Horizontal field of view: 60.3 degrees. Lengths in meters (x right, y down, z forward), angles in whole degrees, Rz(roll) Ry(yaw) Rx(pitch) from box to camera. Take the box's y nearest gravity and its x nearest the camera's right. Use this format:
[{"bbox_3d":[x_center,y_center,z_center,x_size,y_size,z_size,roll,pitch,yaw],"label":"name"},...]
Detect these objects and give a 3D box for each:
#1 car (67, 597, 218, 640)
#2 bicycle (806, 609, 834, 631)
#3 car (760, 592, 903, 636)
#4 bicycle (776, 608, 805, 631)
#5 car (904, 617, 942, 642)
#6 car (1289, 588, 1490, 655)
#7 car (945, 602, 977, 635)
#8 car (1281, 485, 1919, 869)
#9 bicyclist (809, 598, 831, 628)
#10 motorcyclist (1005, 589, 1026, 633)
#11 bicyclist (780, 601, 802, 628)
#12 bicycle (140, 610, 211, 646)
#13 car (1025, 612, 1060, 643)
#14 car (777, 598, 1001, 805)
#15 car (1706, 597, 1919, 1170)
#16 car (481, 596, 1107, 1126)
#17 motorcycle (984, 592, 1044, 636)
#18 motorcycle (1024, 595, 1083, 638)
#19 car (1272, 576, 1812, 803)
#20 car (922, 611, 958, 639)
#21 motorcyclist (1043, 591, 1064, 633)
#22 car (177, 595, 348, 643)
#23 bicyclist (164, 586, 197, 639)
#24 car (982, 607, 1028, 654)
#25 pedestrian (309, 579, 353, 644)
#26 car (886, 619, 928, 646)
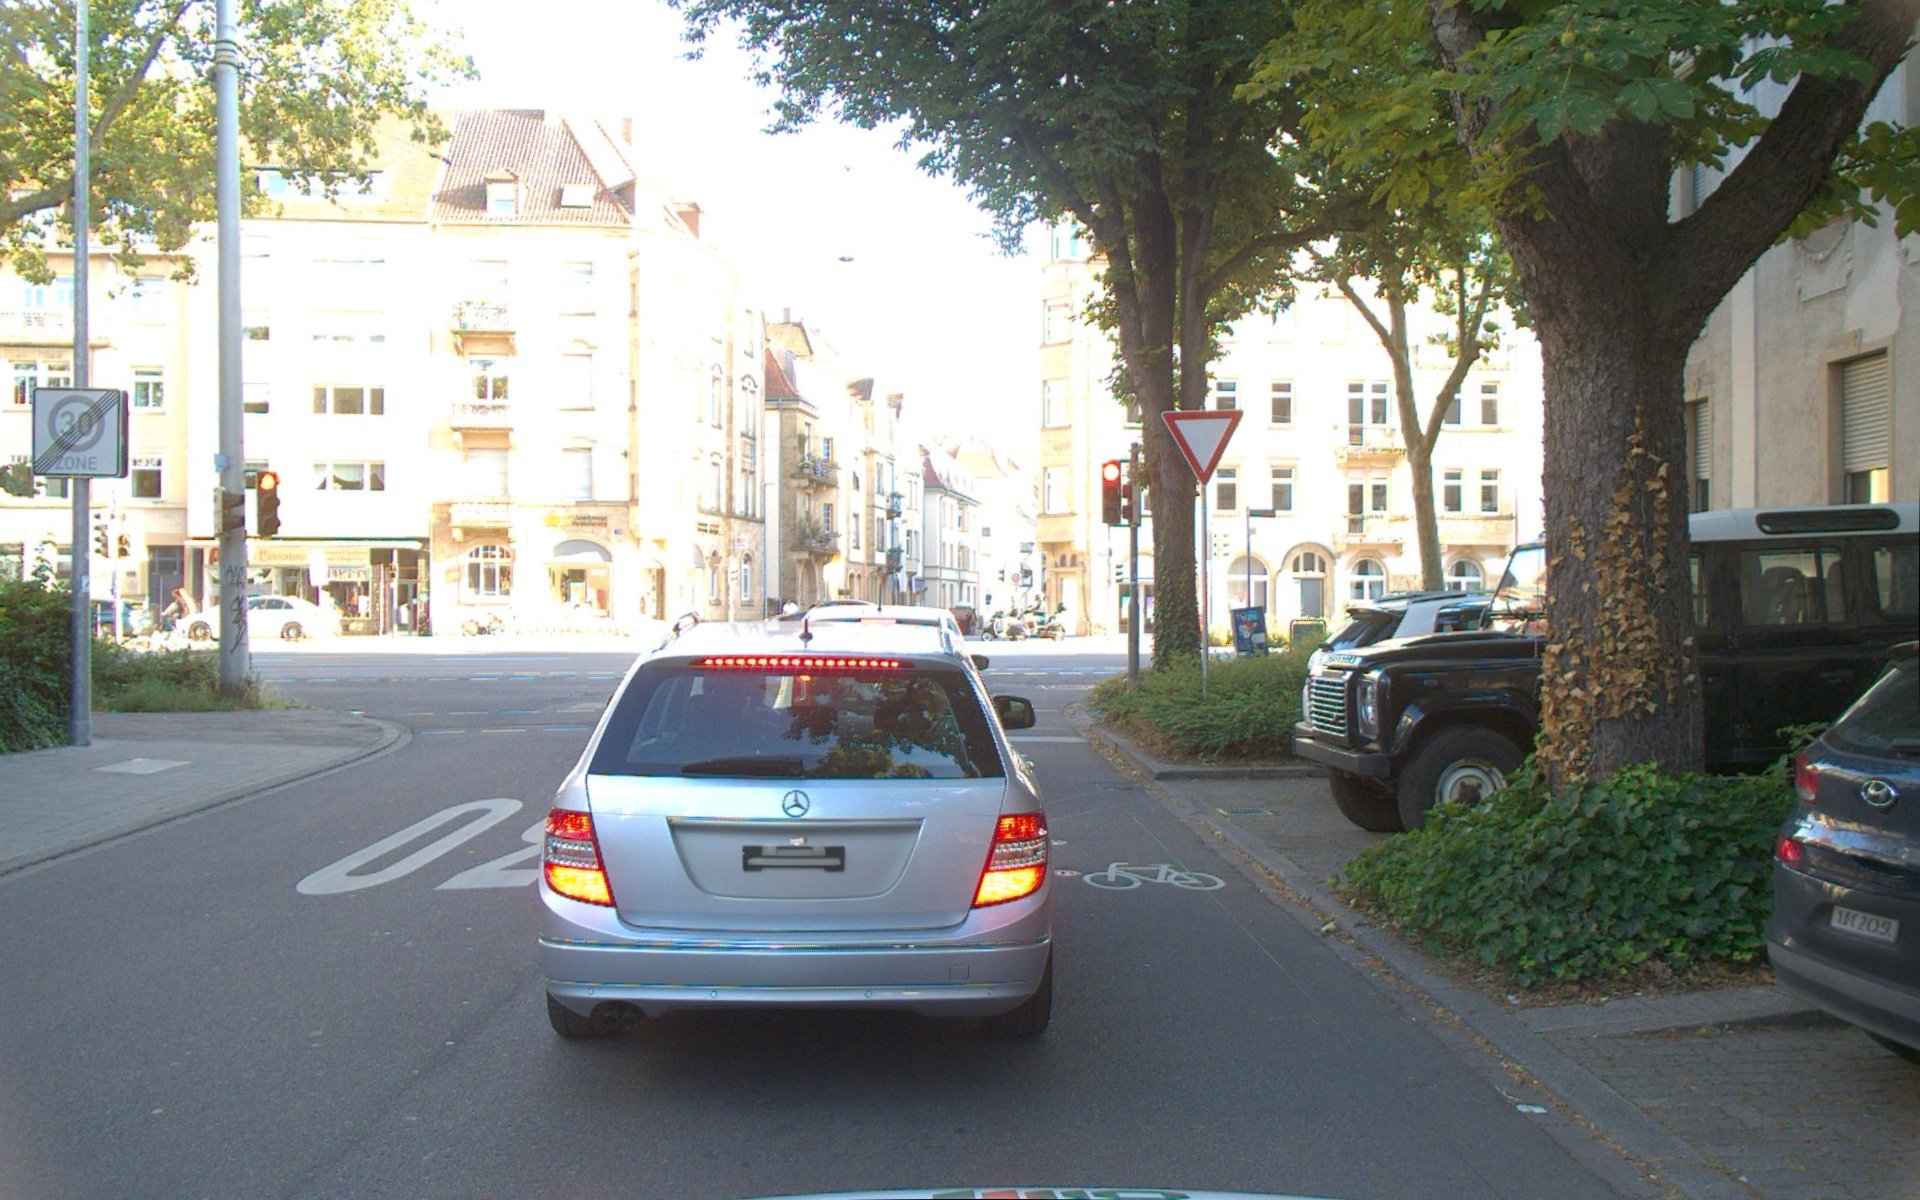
[{"bbox_3d":[-26.853,0.596,54.431,4.140,1.372,1.662,0,0,-7],"label":"car"},{"bbox_3d":[-6.210,0.884,73.354,0.754,0.950,1.942,1,0,10],"label":"bicycle"},{"bbox_3d":[-4.383,0.474,56.644,4.788,1.477,1.857,0,0,-5],"label":"car"},{"bbox_3d":[-7.506,0.869,73.246,0.754,0.956,1.942,1,0,10],"label":"bicycle"},{"bbox_3d":[-2.272,1.825,102.457,1.796,1.427,4.003,0,1,7],"label":"car"},{"bbox_3d":[10.023,0.475,38.715,4.263,1.523,1.659,0,0,-7],"label":"car"},{"bbox_3d":[0.084,1.283,117.319,1.749,2.242,4.003,0,1,7],"label":"car"},{"bbox_3d":[4.367,0.411,10.170,4.377,2.072,1.699,-1,0,-4],"label":"car"},{"bbox_3d":[-6.207,0.585,73.355,0.754,1.312,0.753,1,0,10],"label":"bicyclist"},{"bbox_3d":[1.891,0.366,56.602,0.668,1.477,0.568,0,0,-5],"label":"motorcyclist"},{"bbox_3d":[-7.488,0.643,73.325,0.754,1.177,0.753,1,0,10],"label":"bicyclist"},{"bbox_3d":[-28.105,0.997,59.273,2.212,1.268,0.636,0,0,-5],"label":"bicycle"},{"bbox_3d":[5.118,1.657,101.972,1.796,1.775,4.003,0,1,7],"label":"car"},{"bbox_3d":[-0.593,0.727,14.019,1.587,1.472,4.342,1,0,-2],"label":"car"},{"bbox_3d":[4.282,0.701,4.592,3.650,1.477,1.707,-1,0,-4],"label":"car"},{"bbox_3d":[-0.553,0.738,6.929,1.741,1.477,4.546,1,0,-2],"label":"car"},{"bbox_3d":[1.840,0.488,56.600,1.993,1.477,0.568,0,0,-5],"label":"motorcycle"},{"bbox_3d":[3.282,0.576,58.167,1.993,1.477,0.568,0,0,-5],"label":"motorcycle"},{"bbox_3d":[4.508,0.658,13.138,3.650,1.597,1.707,-1,0,-4],"label":"car"},{"bbox_3d":[-1.269,1.636,108.705,1.796,1.692,4.003,0,1,7],"label":"car"},{"bbox_3d":[3.297,0.429,58.168,0.668,1.477,0.568,0,0,-5],"label":"motorcyclist"},{"bbox_3d":[-21.916,0.580,52.105,4.613,1.486,1.834,0,0,-7],"label":"car"},{"bbox_3d":[-27.935,0.453,59.281,0.874,1.892,0.636,0,0,-5],"label":"bicyclist"},{"bbox_3d":[2.354,1.555,85.899,1.987,2.319,4.003,0,1,7],"label":"car"},{"bbox_3d":[-24.450,0.429,64.309,1.320,2.507,1.059,0,0,-5],"label":"pedestrian"},{"bbox_3d":[-3.072,1.873,96.953,1.796,1.427,4.003,0,1,7],"label":"car"}]
